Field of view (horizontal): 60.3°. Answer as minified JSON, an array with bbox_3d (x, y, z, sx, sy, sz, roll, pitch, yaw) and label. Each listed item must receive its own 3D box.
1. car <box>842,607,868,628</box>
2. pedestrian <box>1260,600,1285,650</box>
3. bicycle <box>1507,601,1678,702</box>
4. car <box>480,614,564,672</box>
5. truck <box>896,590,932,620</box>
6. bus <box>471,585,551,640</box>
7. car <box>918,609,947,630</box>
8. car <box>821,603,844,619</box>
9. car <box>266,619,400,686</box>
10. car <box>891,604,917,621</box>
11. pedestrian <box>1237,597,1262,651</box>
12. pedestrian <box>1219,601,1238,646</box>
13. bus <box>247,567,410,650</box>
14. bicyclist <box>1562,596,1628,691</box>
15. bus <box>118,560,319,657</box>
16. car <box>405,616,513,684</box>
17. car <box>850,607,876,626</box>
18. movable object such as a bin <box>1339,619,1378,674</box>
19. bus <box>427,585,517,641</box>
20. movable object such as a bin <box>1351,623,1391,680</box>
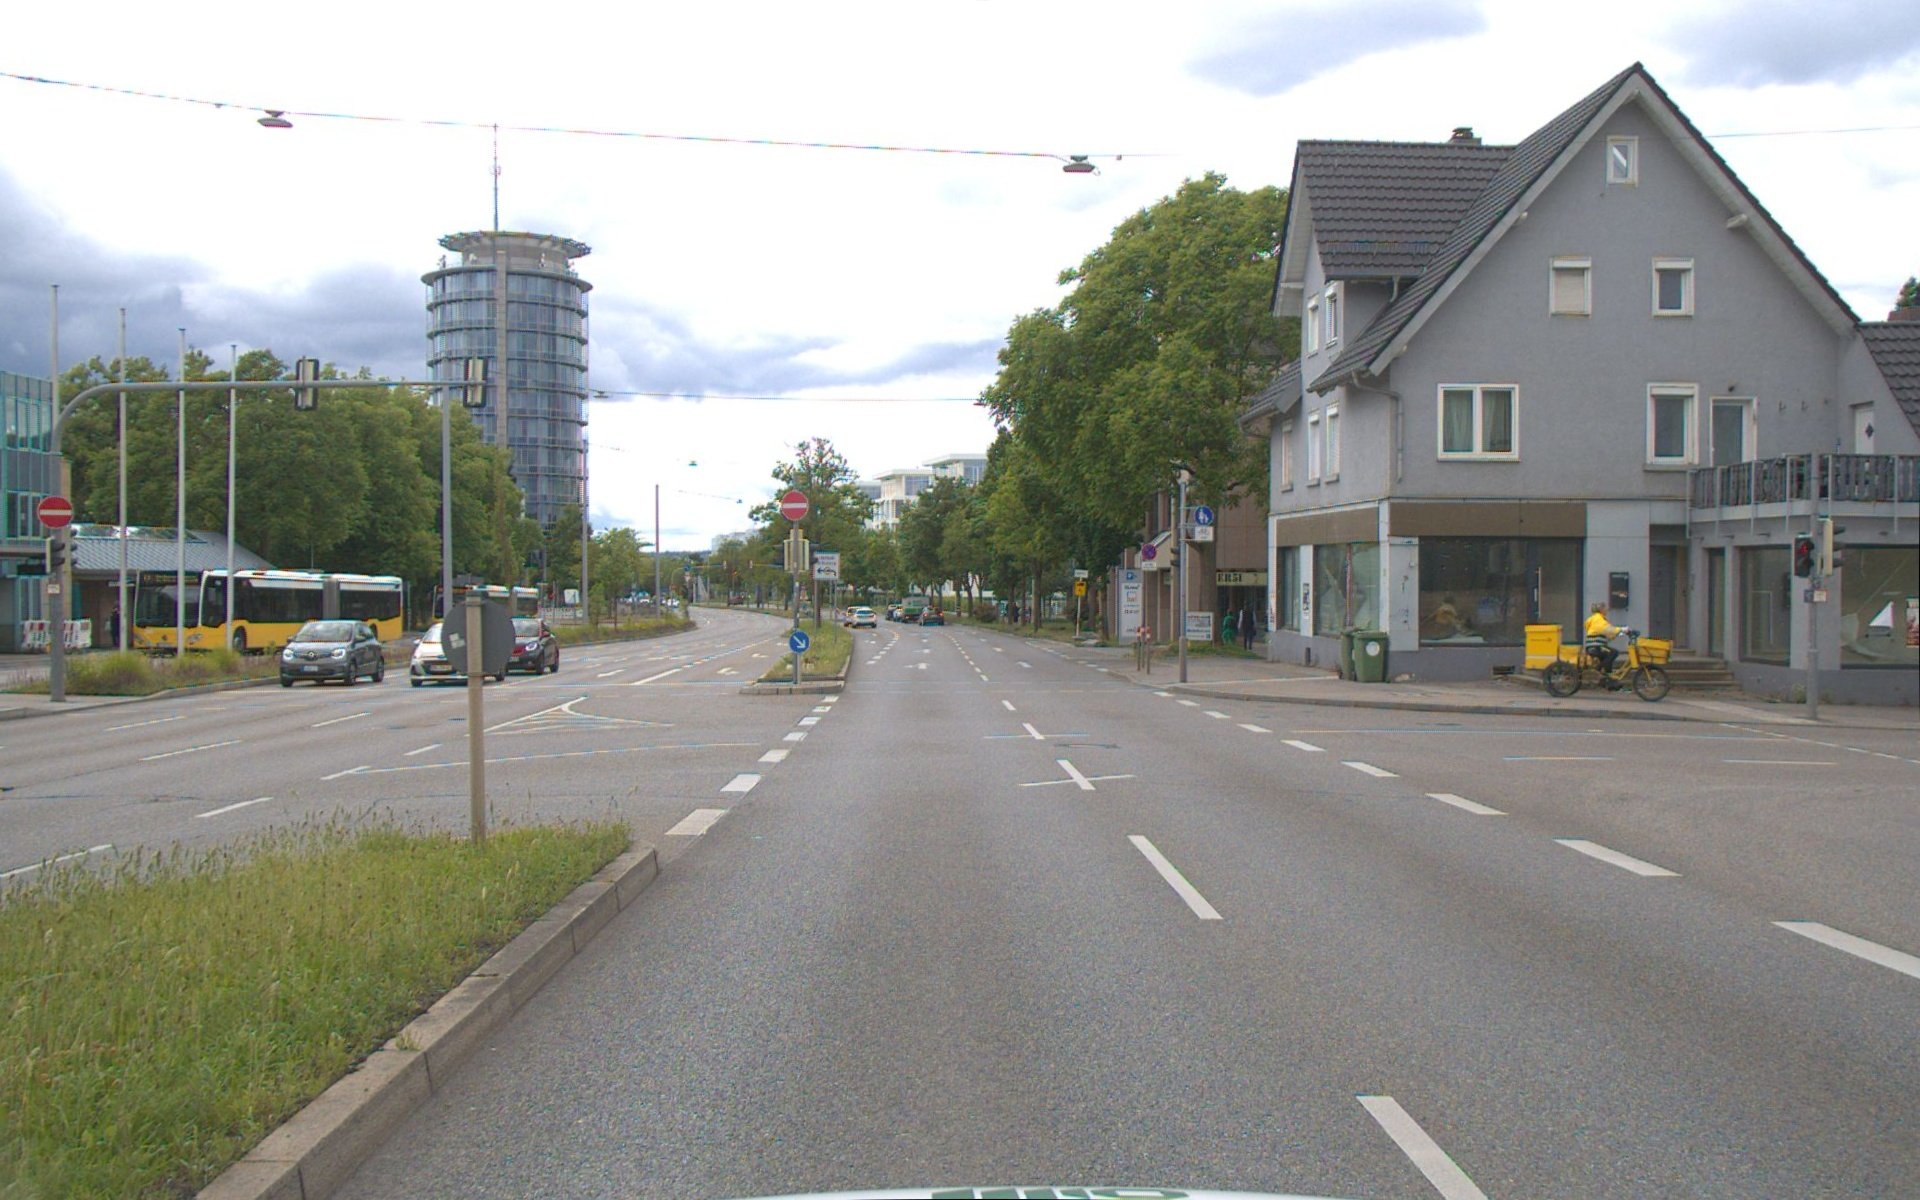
[{"bbox_3d":[-8.570,1.432,134.391,1.955,1.701,3.995,0,-1,-6],"label":"car"},{"bbox_3d":[11.004,0.872,58.292,0.644,1.720,0.842,-2,-1,-2],"label":"pedestrian"},{"bbox_3d":[11.100,0.864,29.064,2.628,1.534,0.961,4,3,32],"label":"bicycle"},{"bbox_3d":[-12.147,1.159,46.042,1.626,1.534,3.764,0,-1,-5],"label":"car"},{"bbox_3d":[-4.118,0.484,146.593,2.804,2.563,6.279,0,-1,-6],"label":"truck"},{"bbox_3d":[-30.639,0.824,113.288,2.970,3.516,9.907,1,0,-2],"label":"bus"},{"bbox_3d":[-2.243,1.504,132.067,1.955,1.624,3.994,0,0,-7],"label":"car"},{"bbox_3d":[-12.460,1.117,161.910,1.953,1.534,3.999,0,-1,-1],"label":"car"},{"bbox_3d":[-15.209,1.241,40.343,1.778,1.534,3.999,0,-1,-1],"label":"car"},{"bbox_3d":[-5.187,1.172,153.927,1.957,1.534,3.992,-1,0,-9],"label":"car"},{"bbox_3d":[10.207,0.855,58.348,0.644,1.858,0.842,-2,-1,-2],"label":"pedestrian"},{"bbox_3d":[9.735,0.850,59.997,0.550,1.577,0.544,-2,-1,-2],"label":"pedestrian"},{"bbox_3d":[-26.322,0.338,69.540,2.750,3.187,9.303,2,0,3],"label":"bus"},{"bbox_3d":[11.154,0.743,29.050,0.918,1.627,0.961,1,0,31],"label":"bicyclist"},{"bbox_3d":[-26.708,0.287,60.189,2.718,3.187,9.440,2,0,2],"label":"bus"},{"bbox_3d":[-12.069,1.176,40.051,1.711,1.491,3.787,0,1,-4],"label":"car"},{"bbox_3d":[-7.494,1.266,127.057,1.827,1.474,3.995,0,-1,-6],"label":"car"},{"bbox_3d":[8.176,0.949,33.955,0.596,1.123,0.709,0,0,-2],"label":"movable object such as a bin"},{"bbox_3d":[-30.227,0.777,102.921,3.022,3.218,10.728,1,0,-4],"label":"bus"},{"bbox_3d":[8.234,1.025,33.132,0.613,1.123,0.709,0,0,-2],"label":"movable object such as a bin"}]
